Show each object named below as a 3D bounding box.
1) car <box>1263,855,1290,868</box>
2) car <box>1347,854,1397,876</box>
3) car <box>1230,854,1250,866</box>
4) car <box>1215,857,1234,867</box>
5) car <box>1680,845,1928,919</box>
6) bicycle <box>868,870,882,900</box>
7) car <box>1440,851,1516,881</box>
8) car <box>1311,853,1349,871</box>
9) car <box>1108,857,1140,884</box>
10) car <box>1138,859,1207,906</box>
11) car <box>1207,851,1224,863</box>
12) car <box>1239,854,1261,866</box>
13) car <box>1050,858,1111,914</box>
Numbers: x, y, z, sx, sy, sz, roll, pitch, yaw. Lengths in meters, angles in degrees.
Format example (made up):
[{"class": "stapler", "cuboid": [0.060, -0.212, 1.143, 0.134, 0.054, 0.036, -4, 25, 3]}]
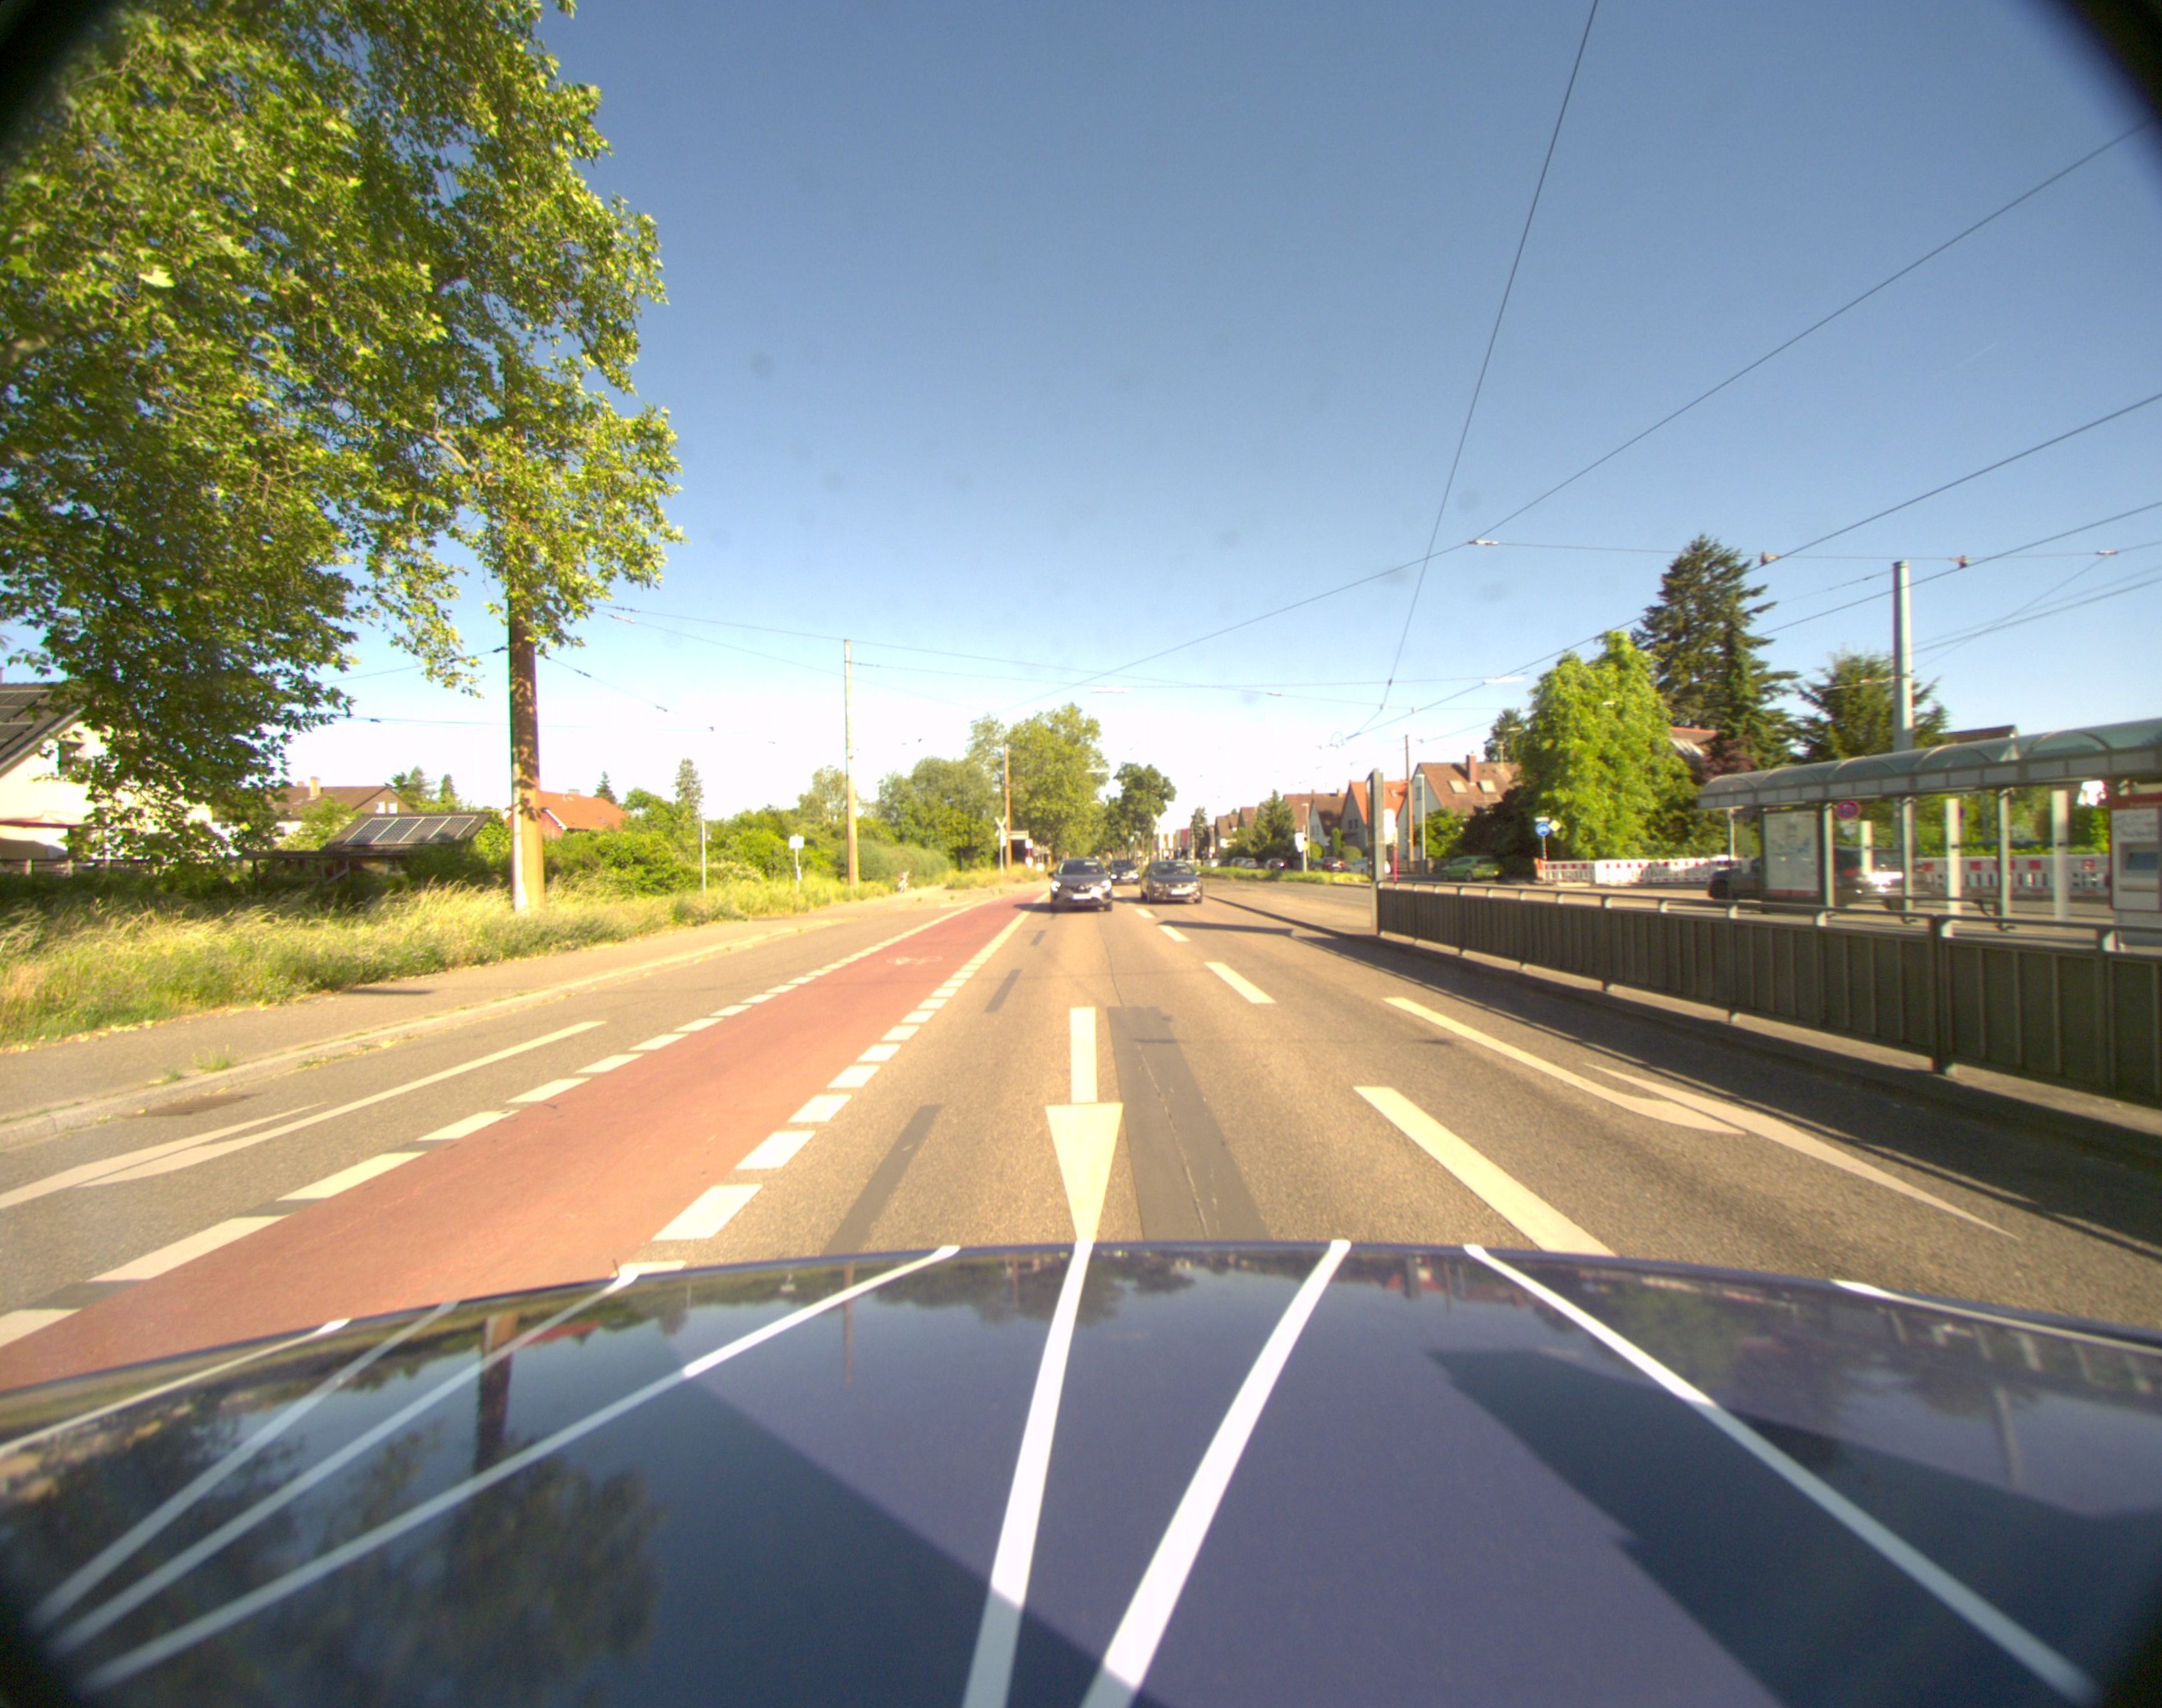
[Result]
[{"class": "car", "cuboid": [22.070, 0.792, 85.792, 1.998, 1.363, 4.310, -2, 0, 1]}, {"class": "car", "cuboid": [21.794, 0.812, 57.154, 1.888, 1.464, 4.614, -3, 0, -1]}, {"class": "car", "cuboid": [21.949, 0.781, 105.049, 1.888, 1.552, 4.537, -3, 0, 0]}, {"class": "car", "cuboid": [22.055, 1.165, 116.754, 1.998, 1.333, 4.982, -3, 0, 1]}, {"class": "car", "cuboid": [16.796, 0.589, 18.026, 1.740, 1.511, 4.344, -1, 0, 0]}, {"class": "bicycle", "cuboid": [-8.385, 1.247, 30.976, 0.366, 1.128, 2.094, -1, 0, -10]}, {"class": "car", "cuboid": [22.073, 0.623, 42.431, 1.999, 1.492, 4.068, -3, 0, -2]}, {"class": "car", "cuboid": [21.908, 0.649, 67.045, 1.912, 1.457, 4.441, -3, 0, 0]}, {"class": "car", "cuboid": [2.713, 1.053, 48.829, 1.779, 1.620, 4.288, -1, 0, 0]}, {"class": "car", "cuboid": [3.093, 0.921, 26.502, 1.780, 1.441, 4.333, -1, 0, -1]}, {"class": "car", "cuboid": [22.254, 0.520, 125.600, 1.998, 1.852, 4.584, -2, 0, 1]}, {"class": "car", "cuboid": [22.201, 0.828, 99.994, 1.888, 1.463, 4.839, -3, 0, 1]}, {"class": "car", "cuboid": [-0.036, 0.899, 23.101, 1.673, 1.529, 3.586, -2, 0, -1]}]
